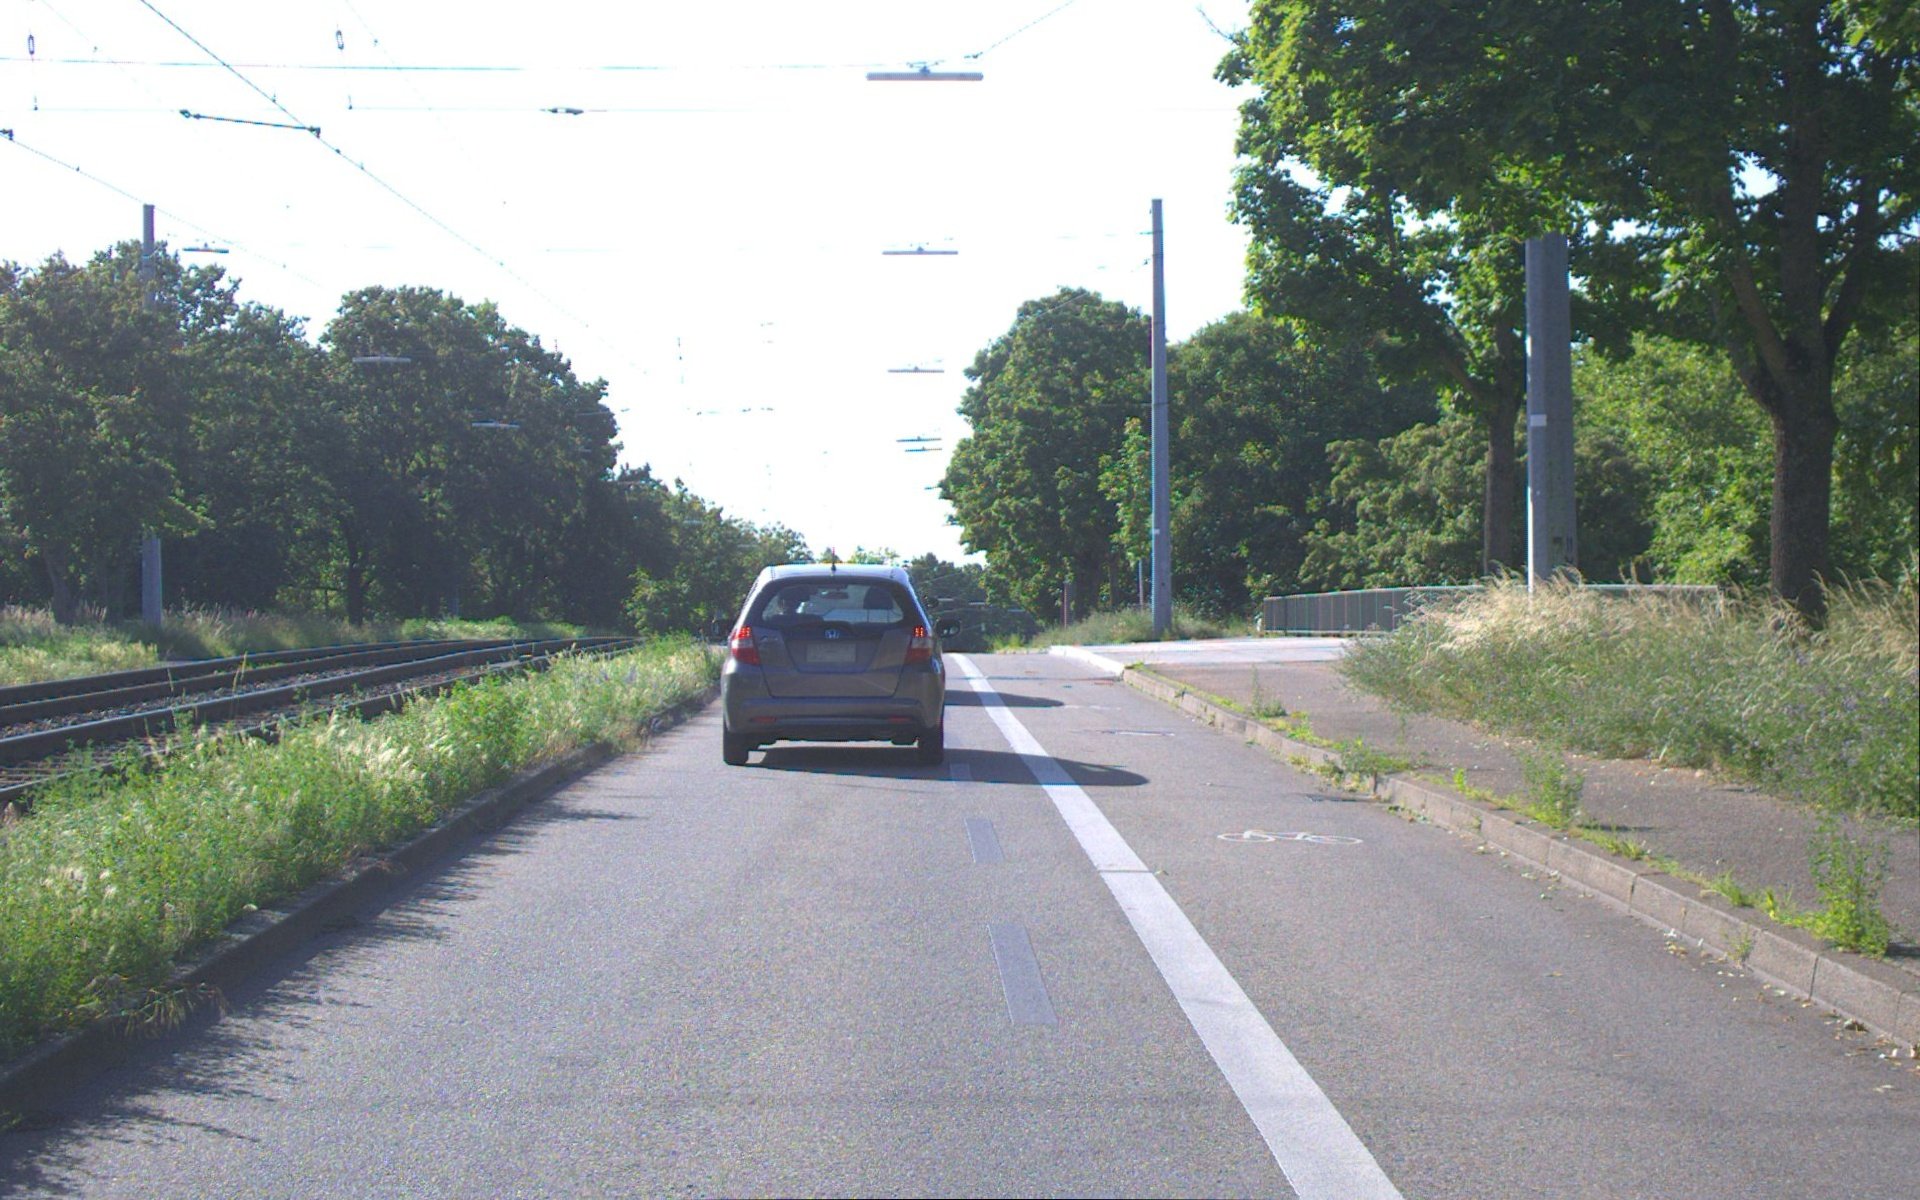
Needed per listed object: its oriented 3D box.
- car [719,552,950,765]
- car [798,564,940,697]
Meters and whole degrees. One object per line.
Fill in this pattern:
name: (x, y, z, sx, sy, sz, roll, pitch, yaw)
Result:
car: (-0.949, 0.402, 27.101, 1.670, 1.502, 3.811, 1, 1, -1)
car: (-1.092, 0.342, 42.665, 1.654, 1.502, 3.811, 1, 1, 0)
